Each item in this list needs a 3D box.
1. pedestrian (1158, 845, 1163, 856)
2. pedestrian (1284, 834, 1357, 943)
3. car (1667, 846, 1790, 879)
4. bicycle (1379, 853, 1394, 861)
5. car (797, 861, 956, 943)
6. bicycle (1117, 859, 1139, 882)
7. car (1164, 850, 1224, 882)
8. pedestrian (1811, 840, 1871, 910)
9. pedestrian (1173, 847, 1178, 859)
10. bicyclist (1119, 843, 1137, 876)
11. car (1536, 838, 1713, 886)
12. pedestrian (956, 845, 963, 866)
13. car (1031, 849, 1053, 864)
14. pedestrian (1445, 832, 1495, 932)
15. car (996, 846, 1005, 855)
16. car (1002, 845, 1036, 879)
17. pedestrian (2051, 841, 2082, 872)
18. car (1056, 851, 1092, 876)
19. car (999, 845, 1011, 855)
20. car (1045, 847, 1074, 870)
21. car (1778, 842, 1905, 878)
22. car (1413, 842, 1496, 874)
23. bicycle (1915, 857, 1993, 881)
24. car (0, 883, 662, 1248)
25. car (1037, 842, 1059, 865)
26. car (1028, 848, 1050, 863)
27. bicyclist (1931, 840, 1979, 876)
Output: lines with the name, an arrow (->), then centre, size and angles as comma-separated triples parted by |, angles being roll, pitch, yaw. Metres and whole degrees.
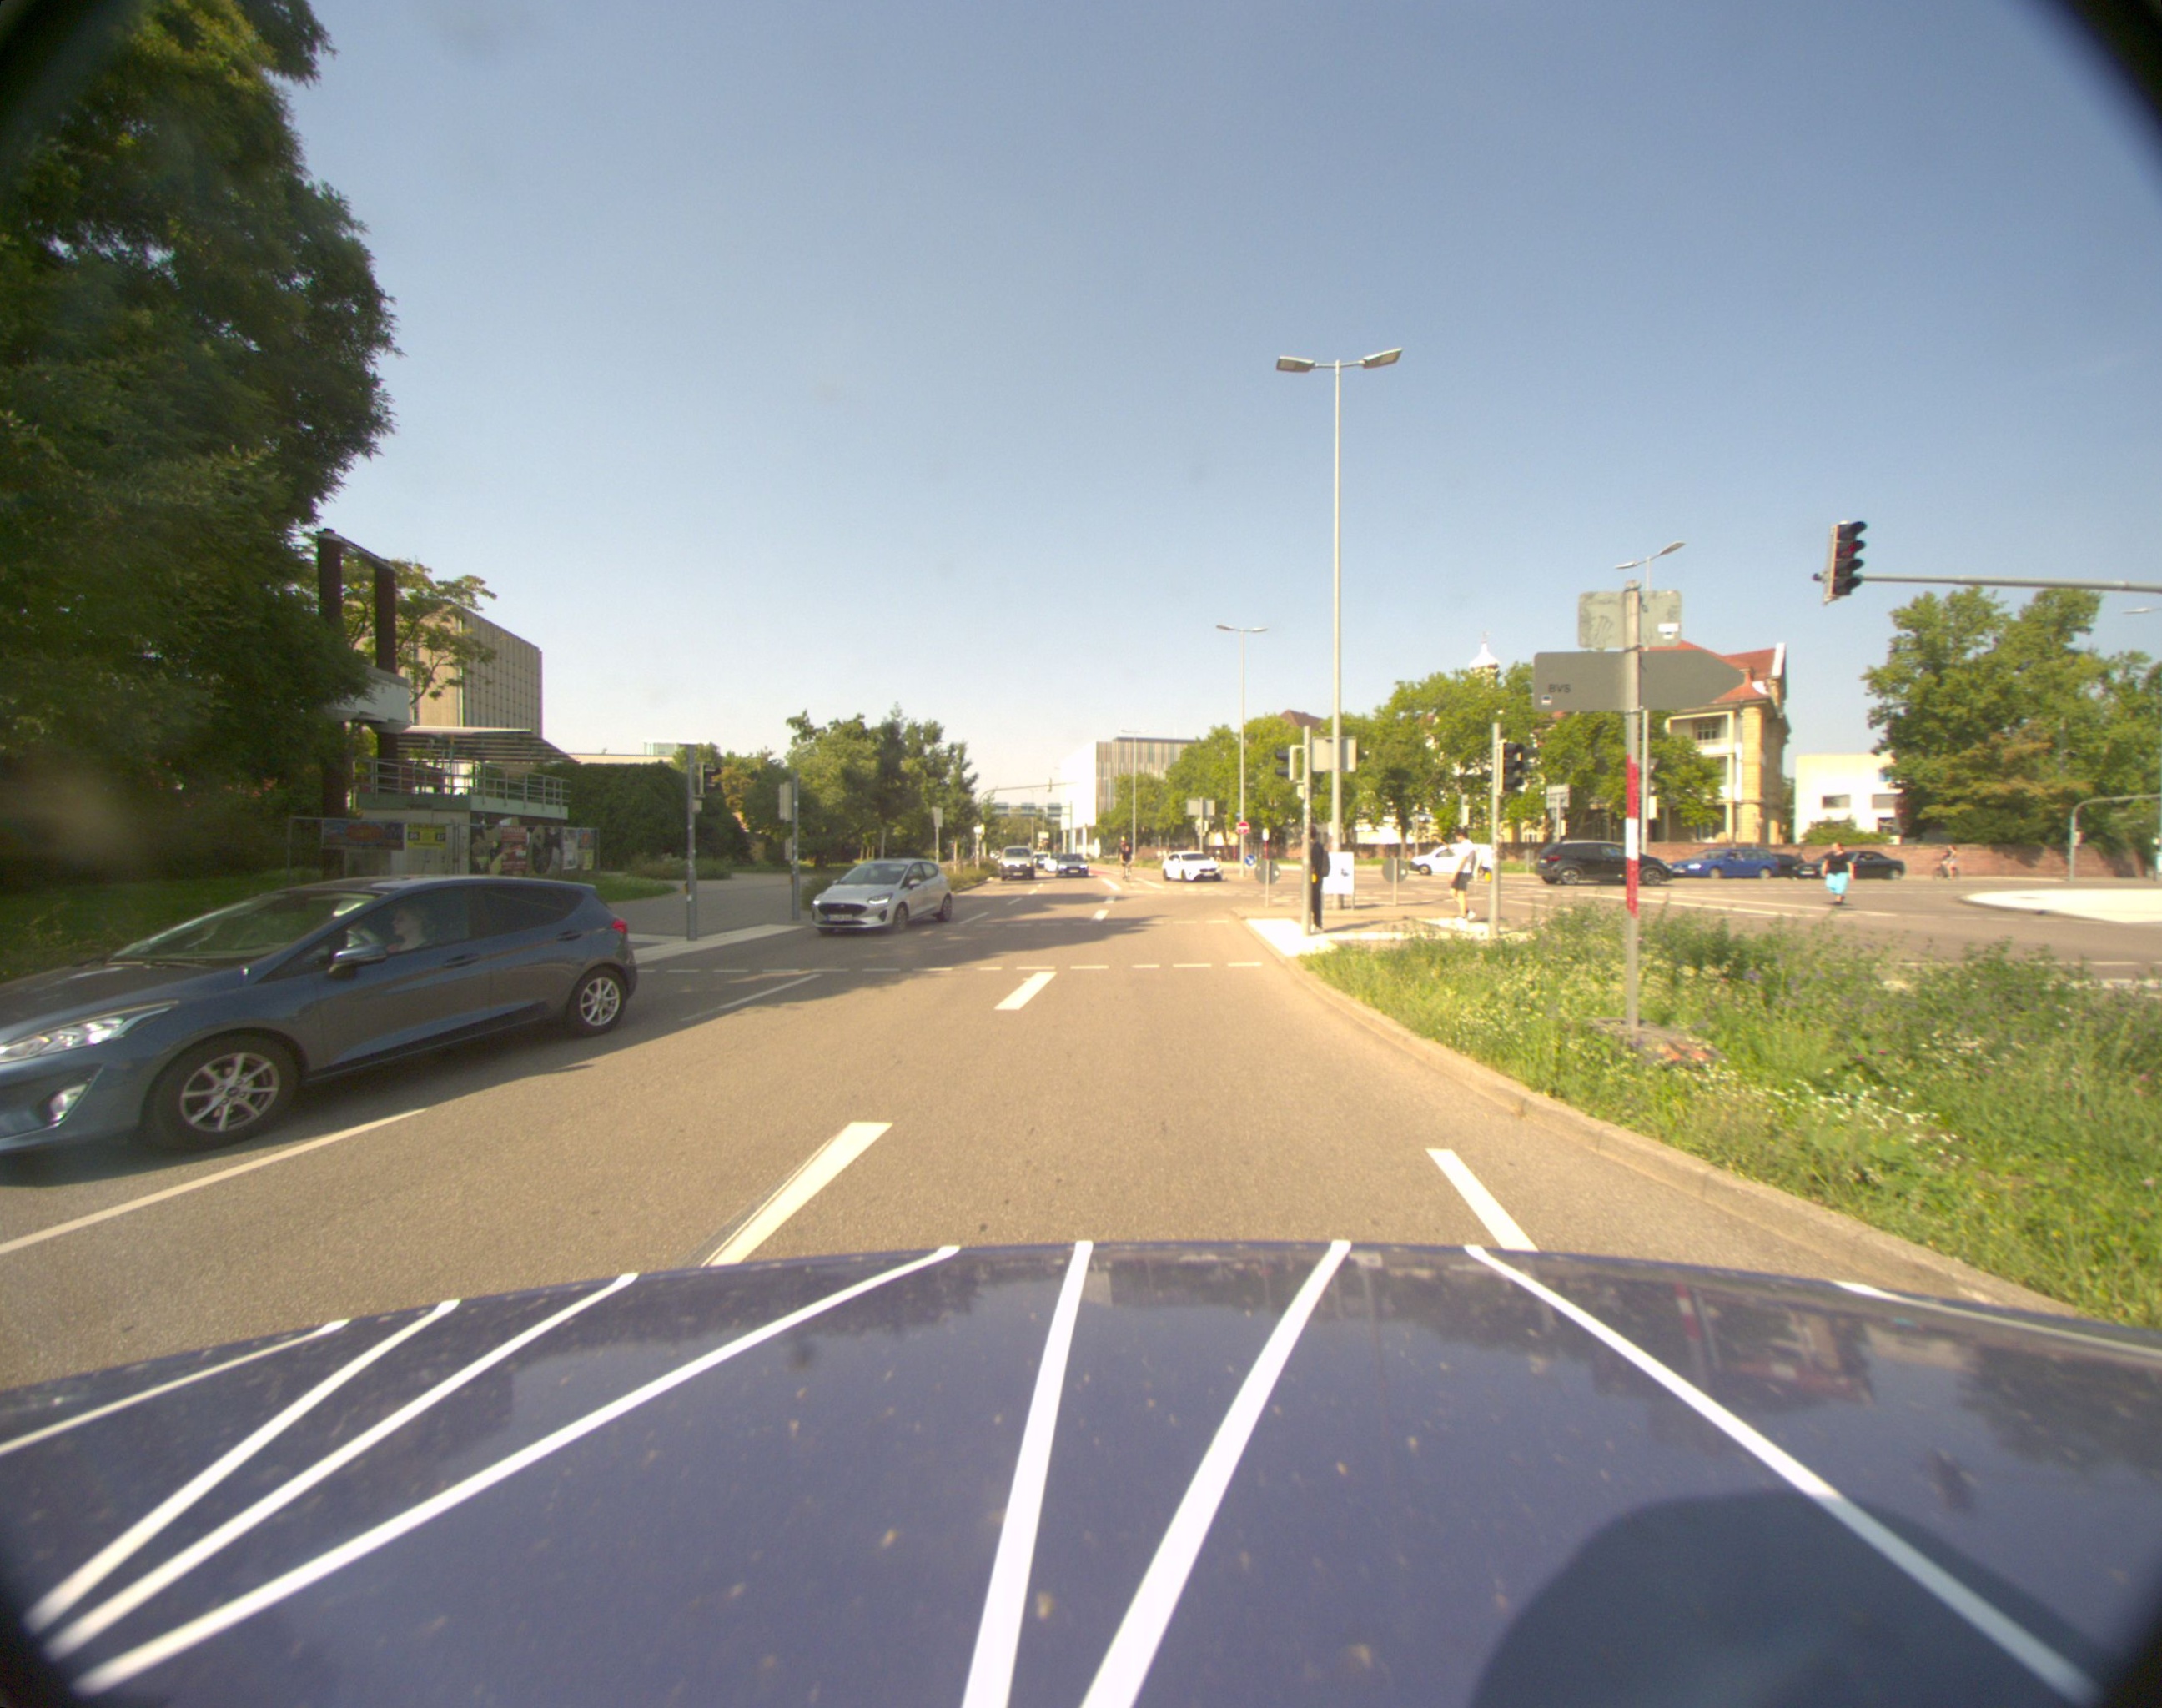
pedestrian -> 11.954, -0.538, 114.232 | 0.536, 1.562, 0.501 | -1, 1, -29
pedestrian -> 4.110, 0.569, 13.107 | 1.081, 1.829, 0.730 | 0, 1, 9
car -> 27.387, 0.329, 32.171 | 4.334, 1.321, 1.606 | 0, 1, -11
bicycle -> 32.329, 0.338, 80.413 | 0.435, 0.830, 1.546 | 0, 1, -35
car -> -4.108, 0.913, 15.942 | 1.718, 1.425, 3.863 | -1, 0, 10
bicycle -> 2.338, 0.818, 37.953 | 0.770, 1.046, 1.774 | 0, 1, -6
car -> 5.407, 0.537, 36.814 | 1.716, 1.428, 3.861 | -2, 1, -10
pedestrian -> 17.482, 0.454, 17.475 | 0.668, 1.556, 0.752 | 0, 3, -28
pedestrian -> 13.986, -0.129, 112.782 | 0.484, 1.641, 0.593 | 1, -2, -27
bicyclist -> 2.343, 0.289, 37.921 | 0.749, 1.626, 0.875 | 0, 1, -7
car -> 18.888, 0.256, 26.624 | 4.706, 1.569, 1.855 | 0, 1, 11
pedestrian -> -10.533, 0.110, 65.873 | 0.623, 1.835, 0.641 | 0, 1, -8
car -> -4.073, 0.272, 78.814 | 1.933, 1.497, 4.291 | 0, 0, -8
pedestrian -> 7.259, 0.512, 14.195 | 0.694, 1.822, 0.571 | 0, 1, 12
car -> -17.030, -0.780, 160.527 | 1.831, 2.002, 3.998 | 0, 1, -5
car -> -3.551, 0.420, 44.166 | 1.846, 1.864, 4.971 | -1, 1, -4
pedestrian -> 64.475, 0.200, 49.723 | 0.907, 2.001, 0.822 | 0, -1, 4
car -> -0.459, 0.554, 46.215 | 1.911, 1.392, 4.918 | 0, 0, -4
car -> -13.054, -0.688, 130.253 | 1.832, 1.674, 3.996 | 0, 1, -9
car -> -1.657, 0.377, 57.843 | 1.829, 1.586, 3.827 | 0, -2, -8
car -> 33.433, 0.247, 33.456 | 4.000, 1.543, 1.998 | 0, 1, -10
car -> 20.352, 0.254, 41.461 | 3.990, 1.667, 1.761 | -1, -2, 27
bicycle -> 42.604, 0.738, 37.108 | 3.077, 1.197, 0.887 | 0, -2, -6
car -> -5.250, 1.028, 5.338 | 1.638, 1.419, 4.325 | -1, 0, 10
car -> -3.097, 0.013, 71.106 | 1.749, 2.001, 3.748 | 0, -2, -8
car -> -4.694, 0.144, 84.566 | 1.933, 1.650, 4.290 | 0, 0, -10
bicyclist -> 42.695, 0.200, 37.131 | 1.369, 1.735, 0.887 | 0, -2, -6
